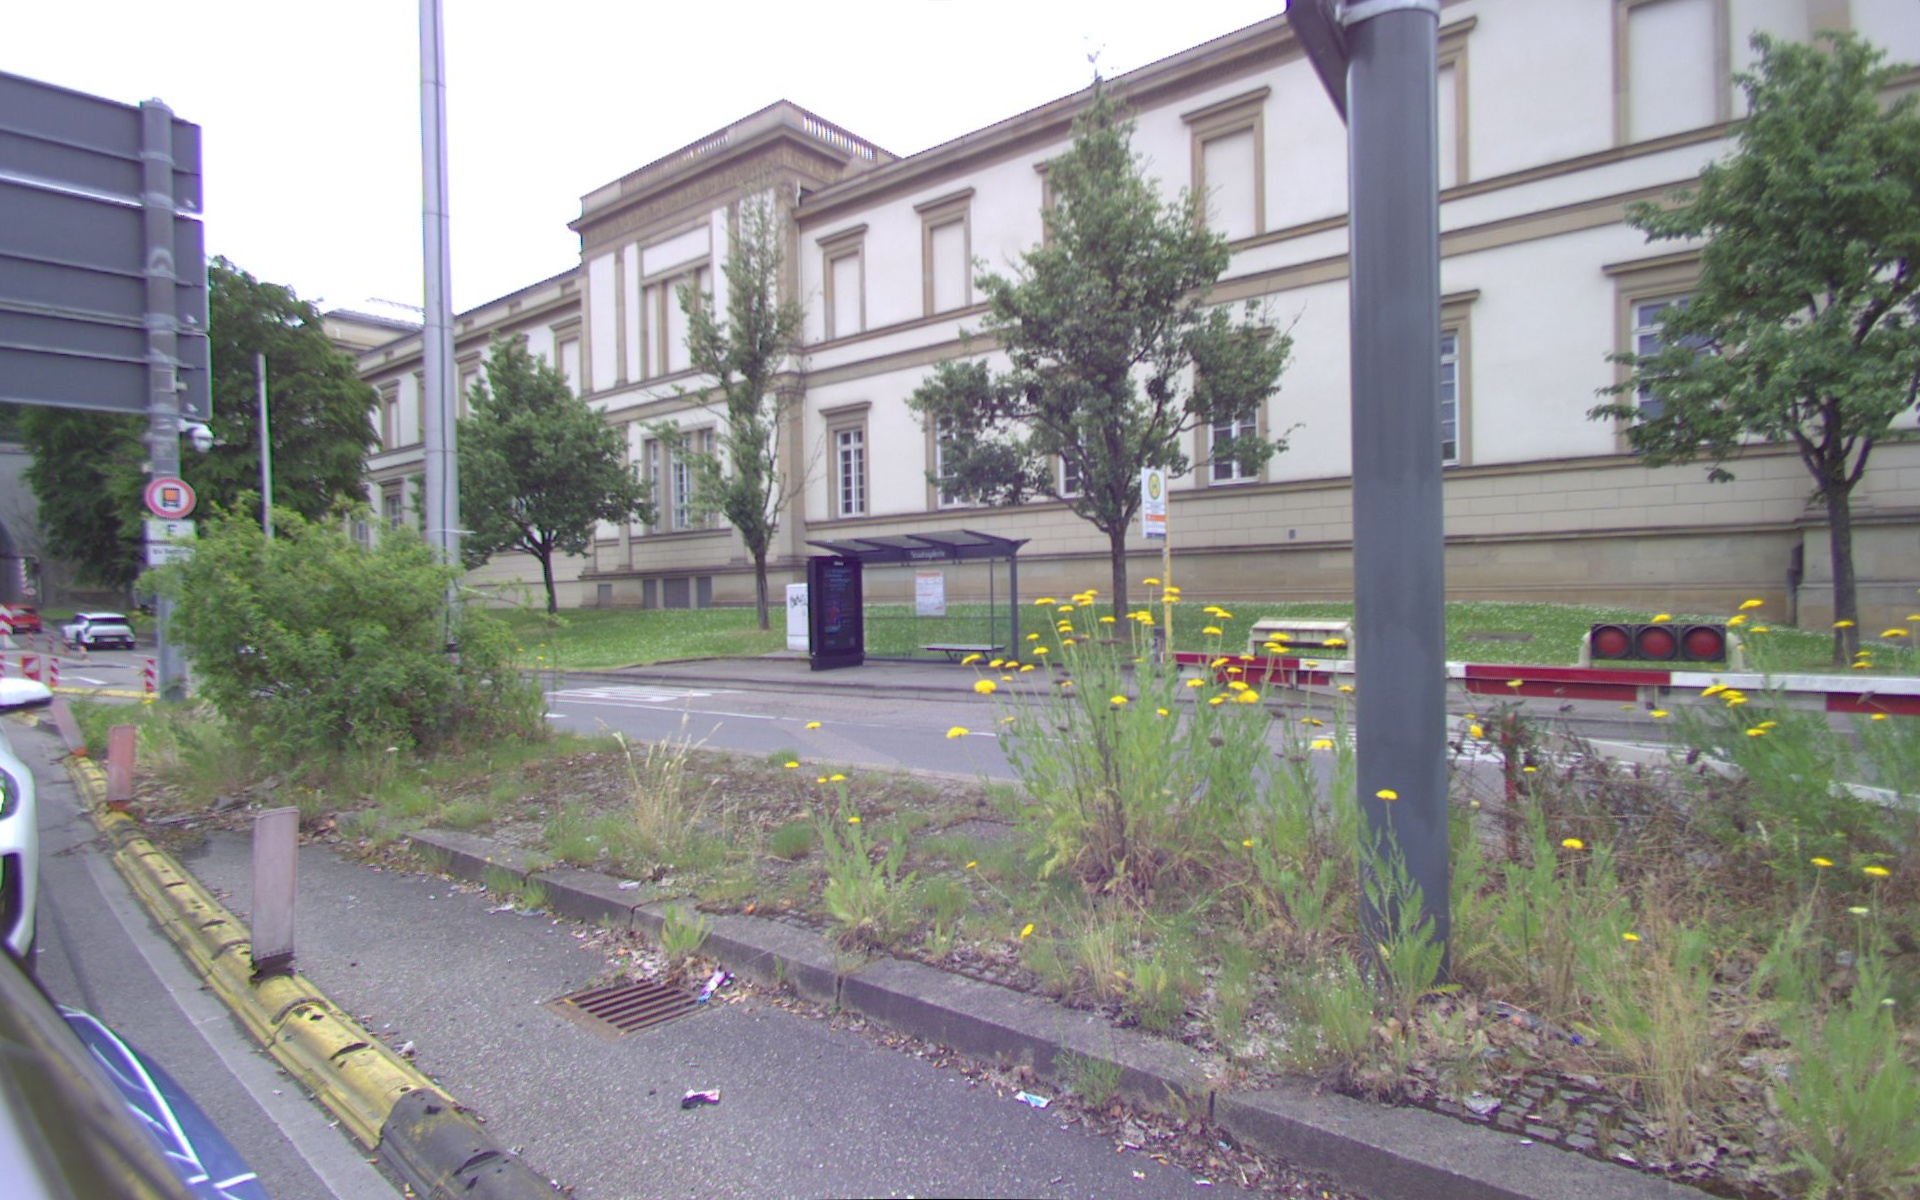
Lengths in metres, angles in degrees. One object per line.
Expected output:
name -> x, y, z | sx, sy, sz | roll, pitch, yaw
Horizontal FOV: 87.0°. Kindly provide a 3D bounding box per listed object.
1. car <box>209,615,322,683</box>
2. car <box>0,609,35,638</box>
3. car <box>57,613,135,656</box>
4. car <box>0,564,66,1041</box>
car -> -18.604, 1.256, 27.034 | 1.876, 1.637, 4.111 | -1, -1, -43
car -> -51.245, 1.273, 54.444 | 3.570, 1.489, 1.626 | -1, -1, 39
car -> -36.750, 1.416, 43.011 | 4.265, 1.704, 1.851 | -1, 0, 40
car -> -5.207, 0.719, 4.074 | 3.668, 1.637, 1.962 | -1, 0, 41
